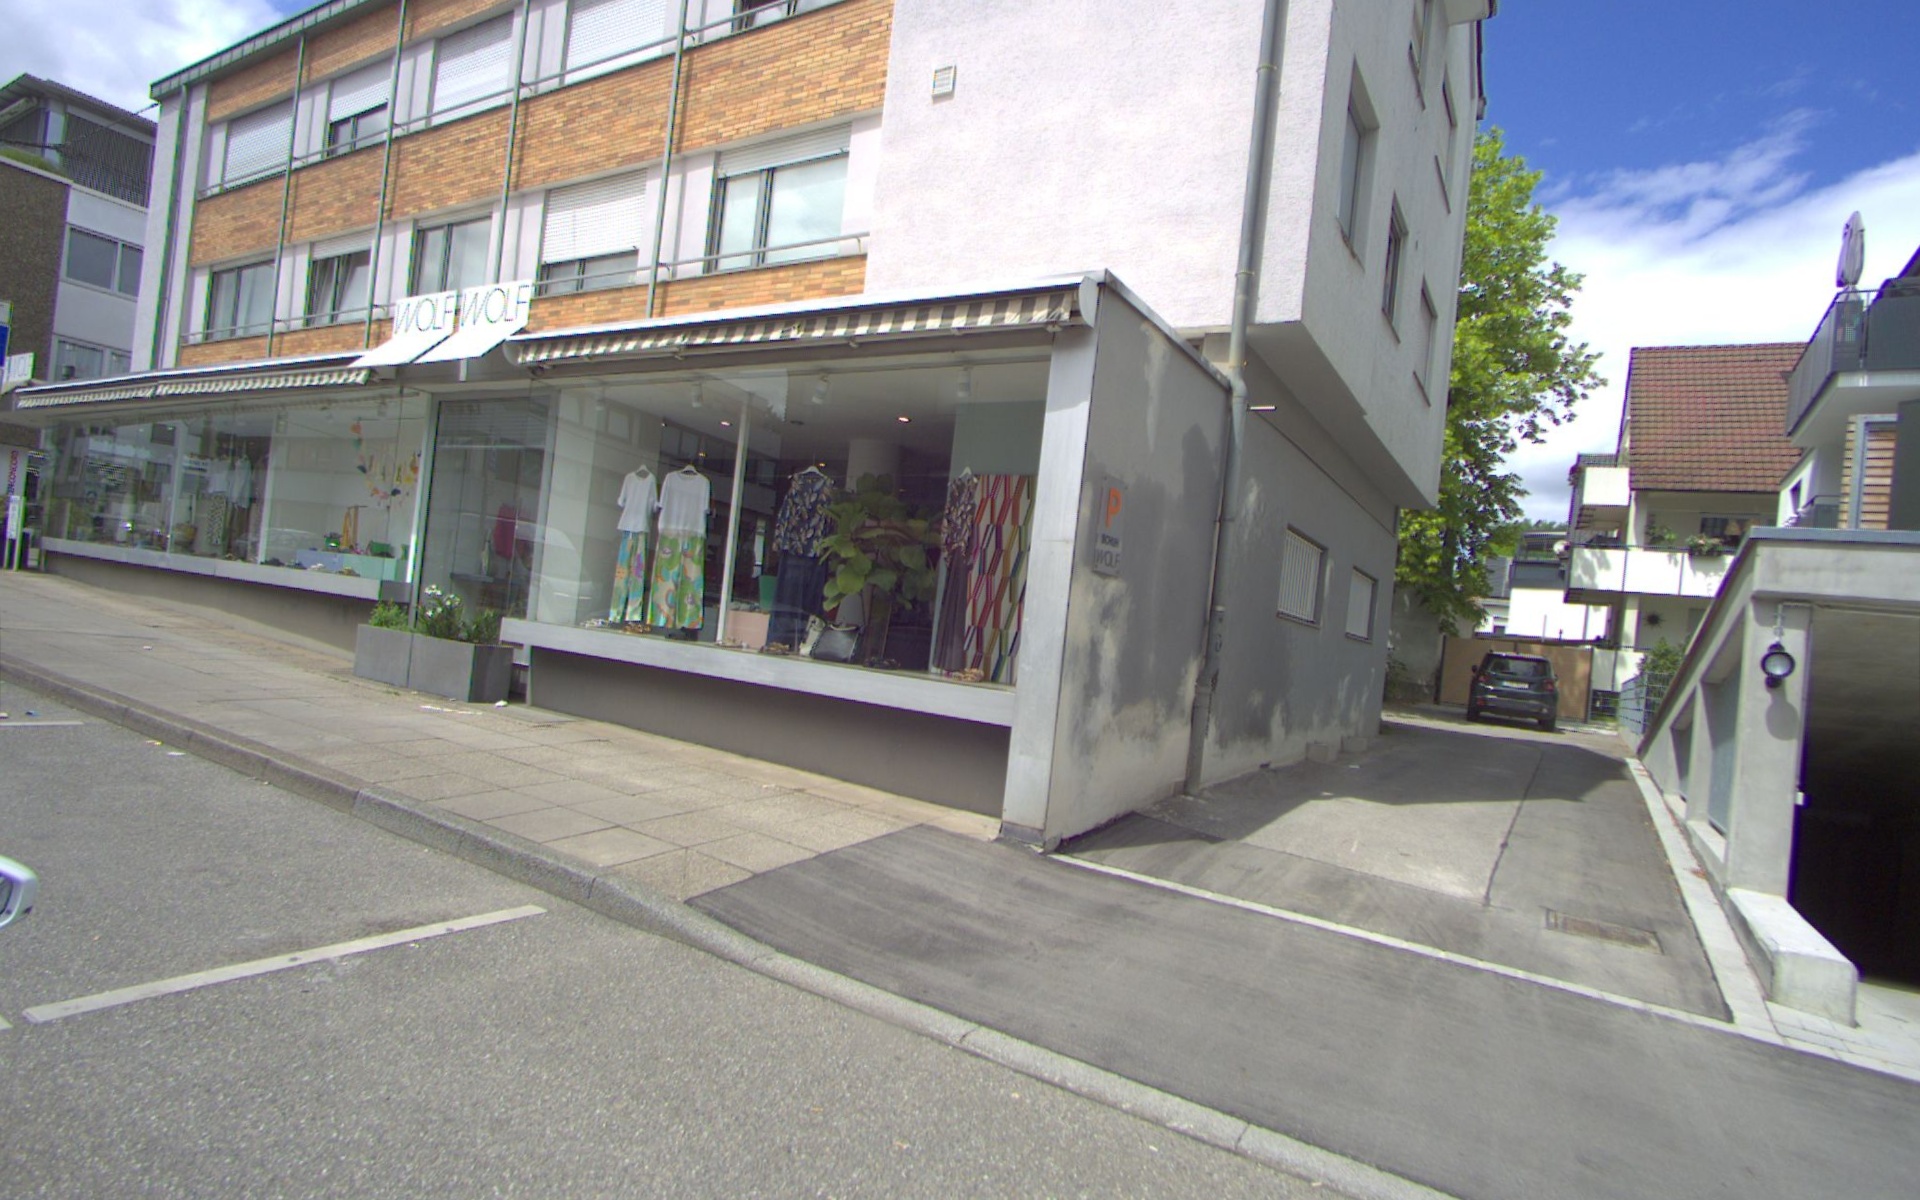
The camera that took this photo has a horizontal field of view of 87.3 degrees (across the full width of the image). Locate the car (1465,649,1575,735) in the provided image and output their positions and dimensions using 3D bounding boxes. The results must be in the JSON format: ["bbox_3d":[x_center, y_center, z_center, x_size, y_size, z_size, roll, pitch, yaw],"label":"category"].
[{"bbox_3d":[13.197,2.132,23.606,1.661,1.643,3.986,6,0,36],"label":"car"}]
